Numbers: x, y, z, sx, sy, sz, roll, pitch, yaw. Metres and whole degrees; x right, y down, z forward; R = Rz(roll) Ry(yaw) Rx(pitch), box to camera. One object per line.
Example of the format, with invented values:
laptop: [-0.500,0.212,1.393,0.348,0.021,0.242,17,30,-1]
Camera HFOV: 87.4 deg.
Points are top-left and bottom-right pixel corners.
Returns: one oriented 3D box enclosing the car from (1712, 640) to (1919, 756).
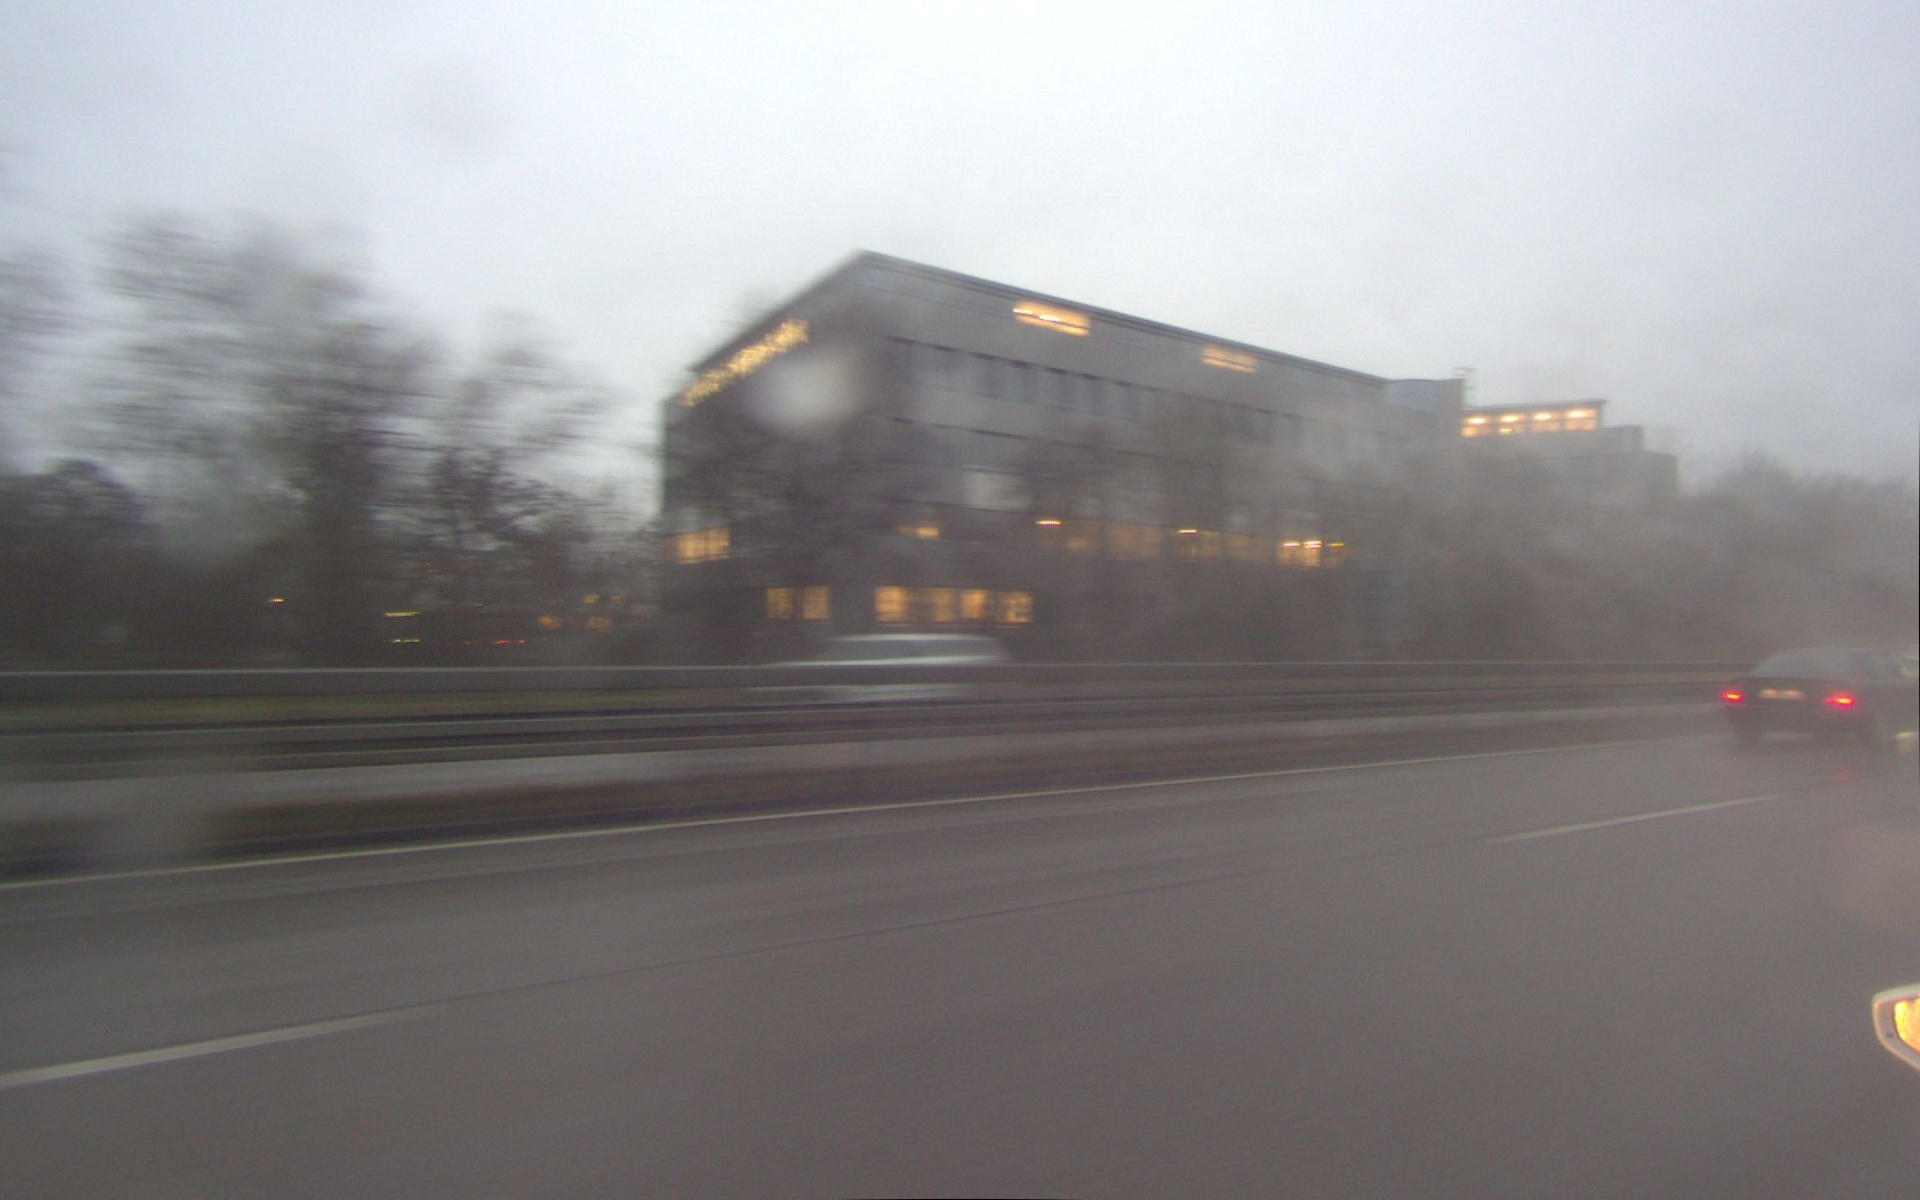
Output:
car: [13.696,1.417,15.306,4.644,1.554,1.769,2,-4,-28]

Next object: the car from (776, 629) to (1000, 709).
car: [-1.470,1.423,21.238,4.486,1.532,1.538,2,-1,-30]

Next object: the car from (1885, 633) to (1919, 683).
car: [33.973,1.996,34.693,4.617,1.678,1.832,2,-2,-32]
